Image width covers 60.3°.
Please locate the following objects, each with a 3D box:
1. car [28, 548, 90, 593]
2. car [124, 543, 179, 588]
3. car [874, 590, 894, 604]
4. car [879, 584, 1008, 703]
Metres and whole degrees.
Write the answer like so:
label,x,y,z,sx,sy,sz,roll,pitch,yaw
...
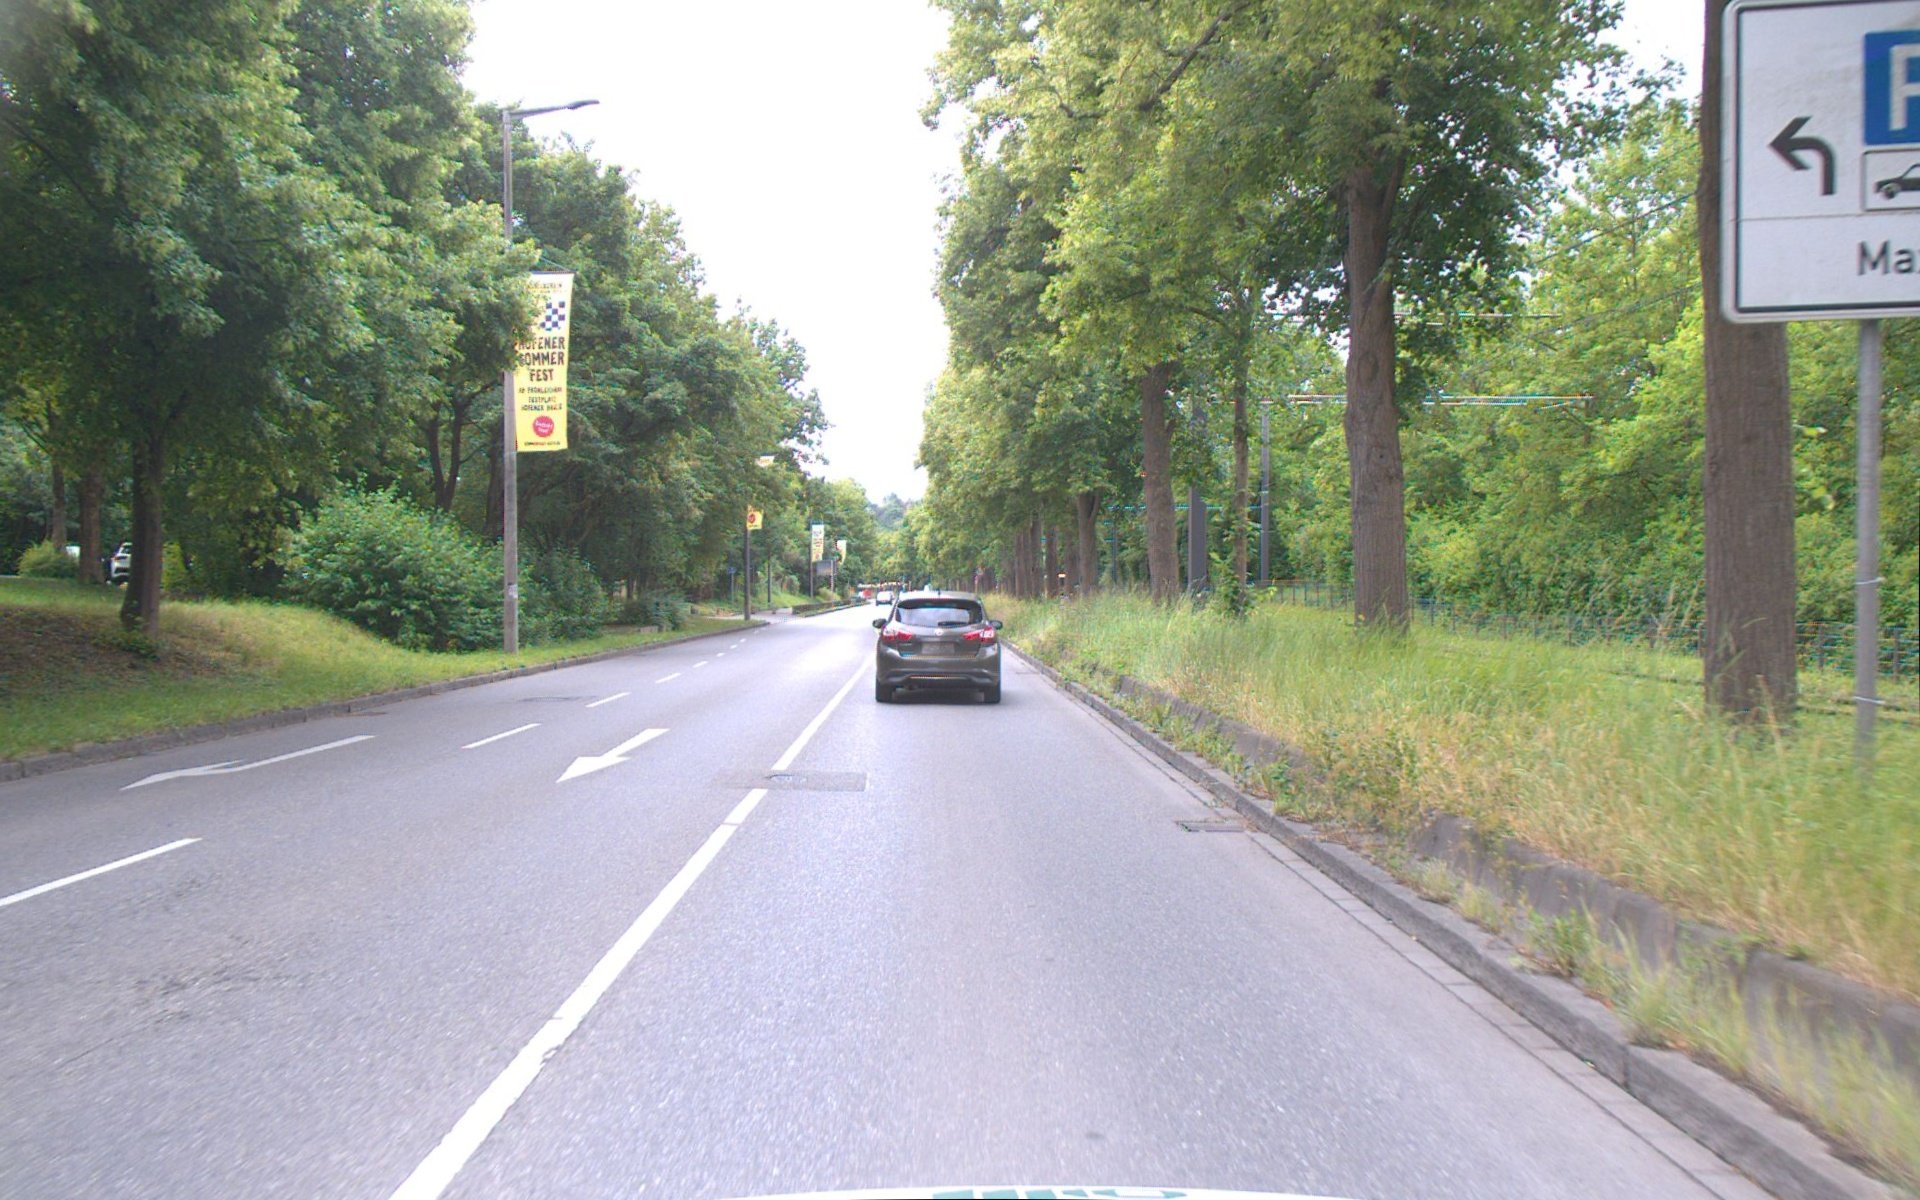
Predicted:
label,x,y,z,sx,sy,sz,roll,pitch,yaw
car,-31.654,-1.013,58.180,1.625,1.512,3.969,1,0,-25
car,-28.968,-1.200,59.342,1.625,1.512,3.969,1,0,-25
car,-8.094,-0.300,176.367,1.680,1.453,4.199,-2,0,4
car,-0.269,0.585,23.865,1.695,1.564,3.550,1,0,-2
